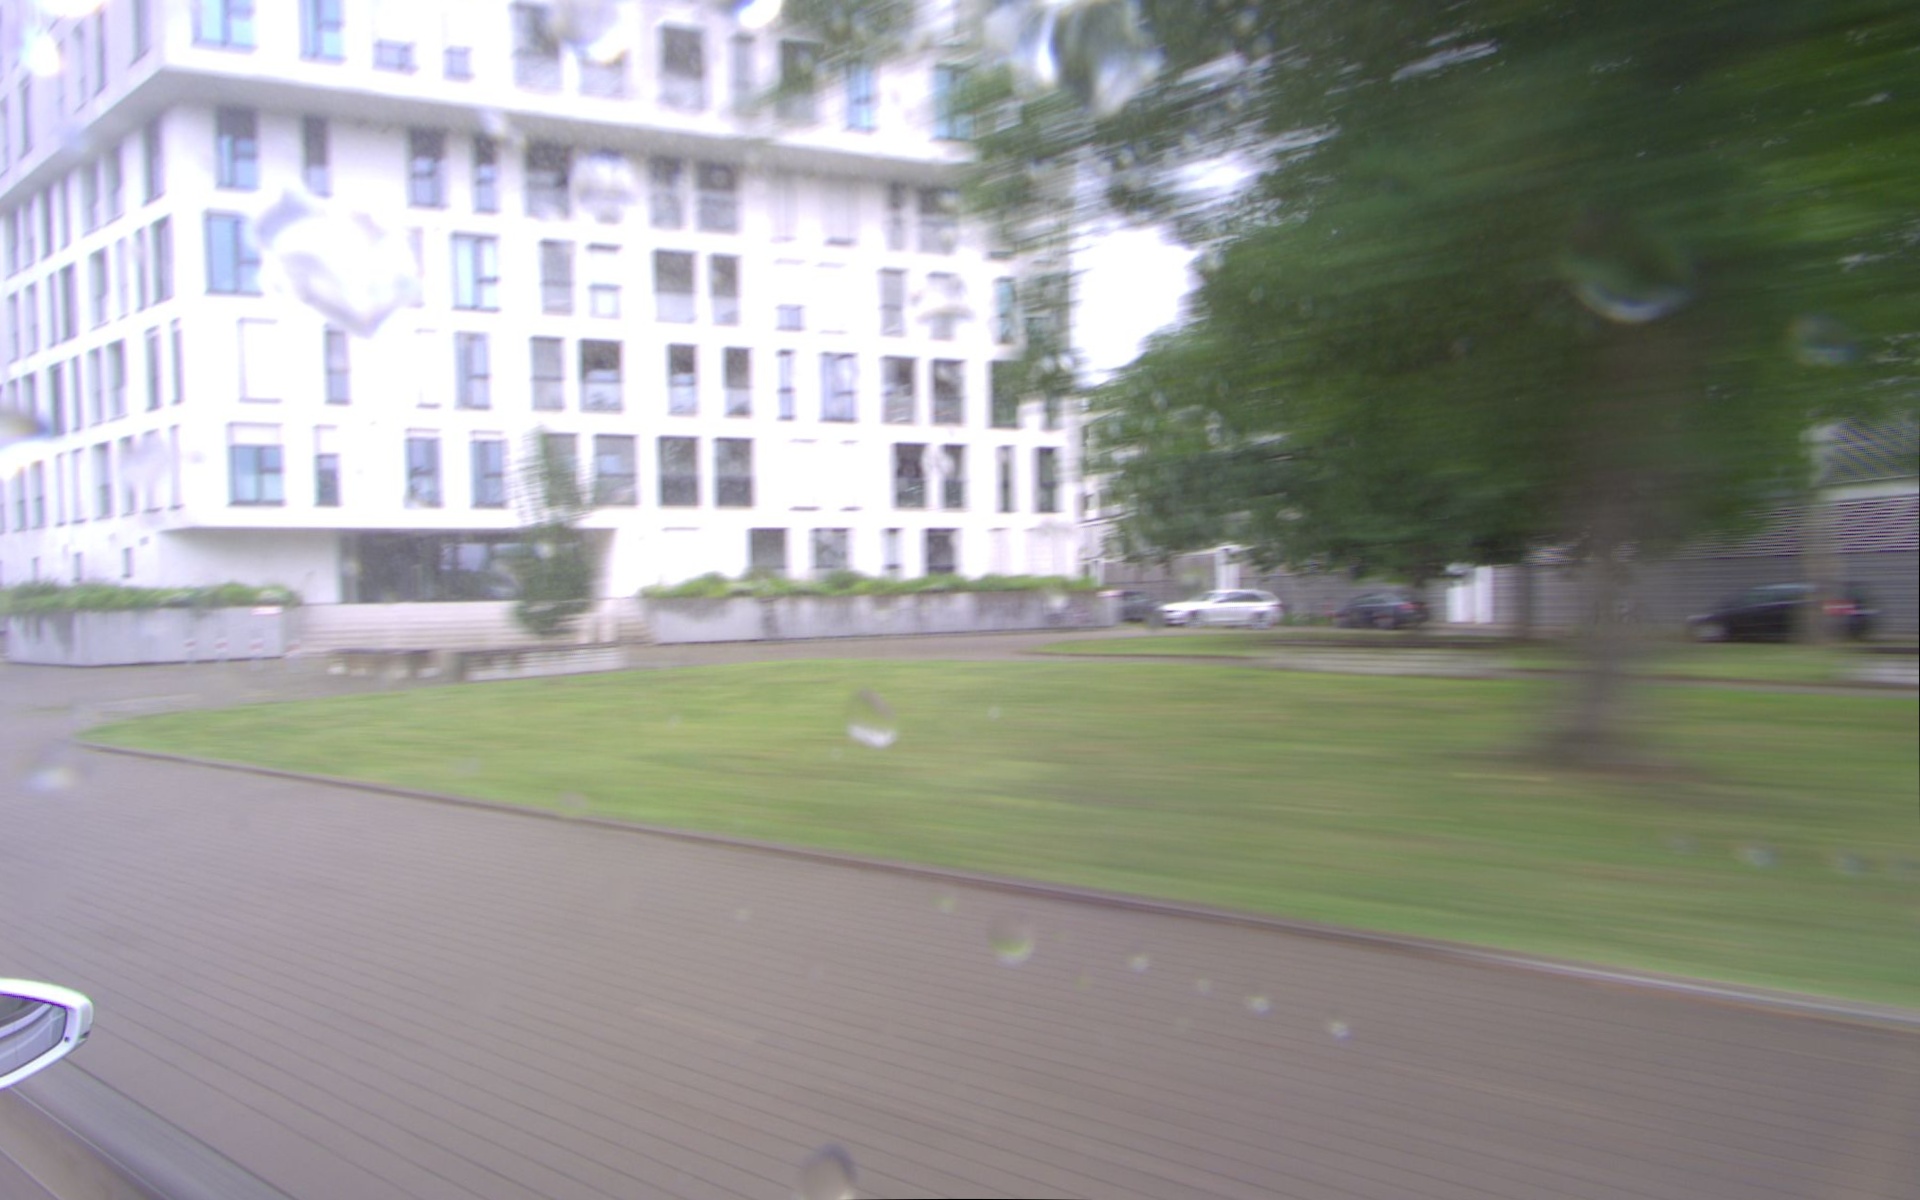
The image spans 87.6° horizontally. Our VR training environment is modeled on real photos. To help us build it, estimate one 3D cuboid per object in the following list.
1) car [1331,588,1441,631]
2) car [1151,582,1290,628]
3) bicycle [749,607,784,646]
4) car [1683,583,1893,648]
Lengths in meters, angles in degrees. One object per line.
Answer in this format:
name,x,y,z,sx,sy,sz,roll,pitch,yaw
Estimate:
car,17.113,0.342,40.425,1.744,1.569,4.133,-3,2,-19
car,9.467,0.198,36.444,4.752,1.527,1.621,1,0,-18
bicycle,-5.580,0.744,28.761,0.712,1.047,2.068,-1,0,-18
car,21.625,0.378,26.355,1.705,1.569,3.990,-1,0,-19
